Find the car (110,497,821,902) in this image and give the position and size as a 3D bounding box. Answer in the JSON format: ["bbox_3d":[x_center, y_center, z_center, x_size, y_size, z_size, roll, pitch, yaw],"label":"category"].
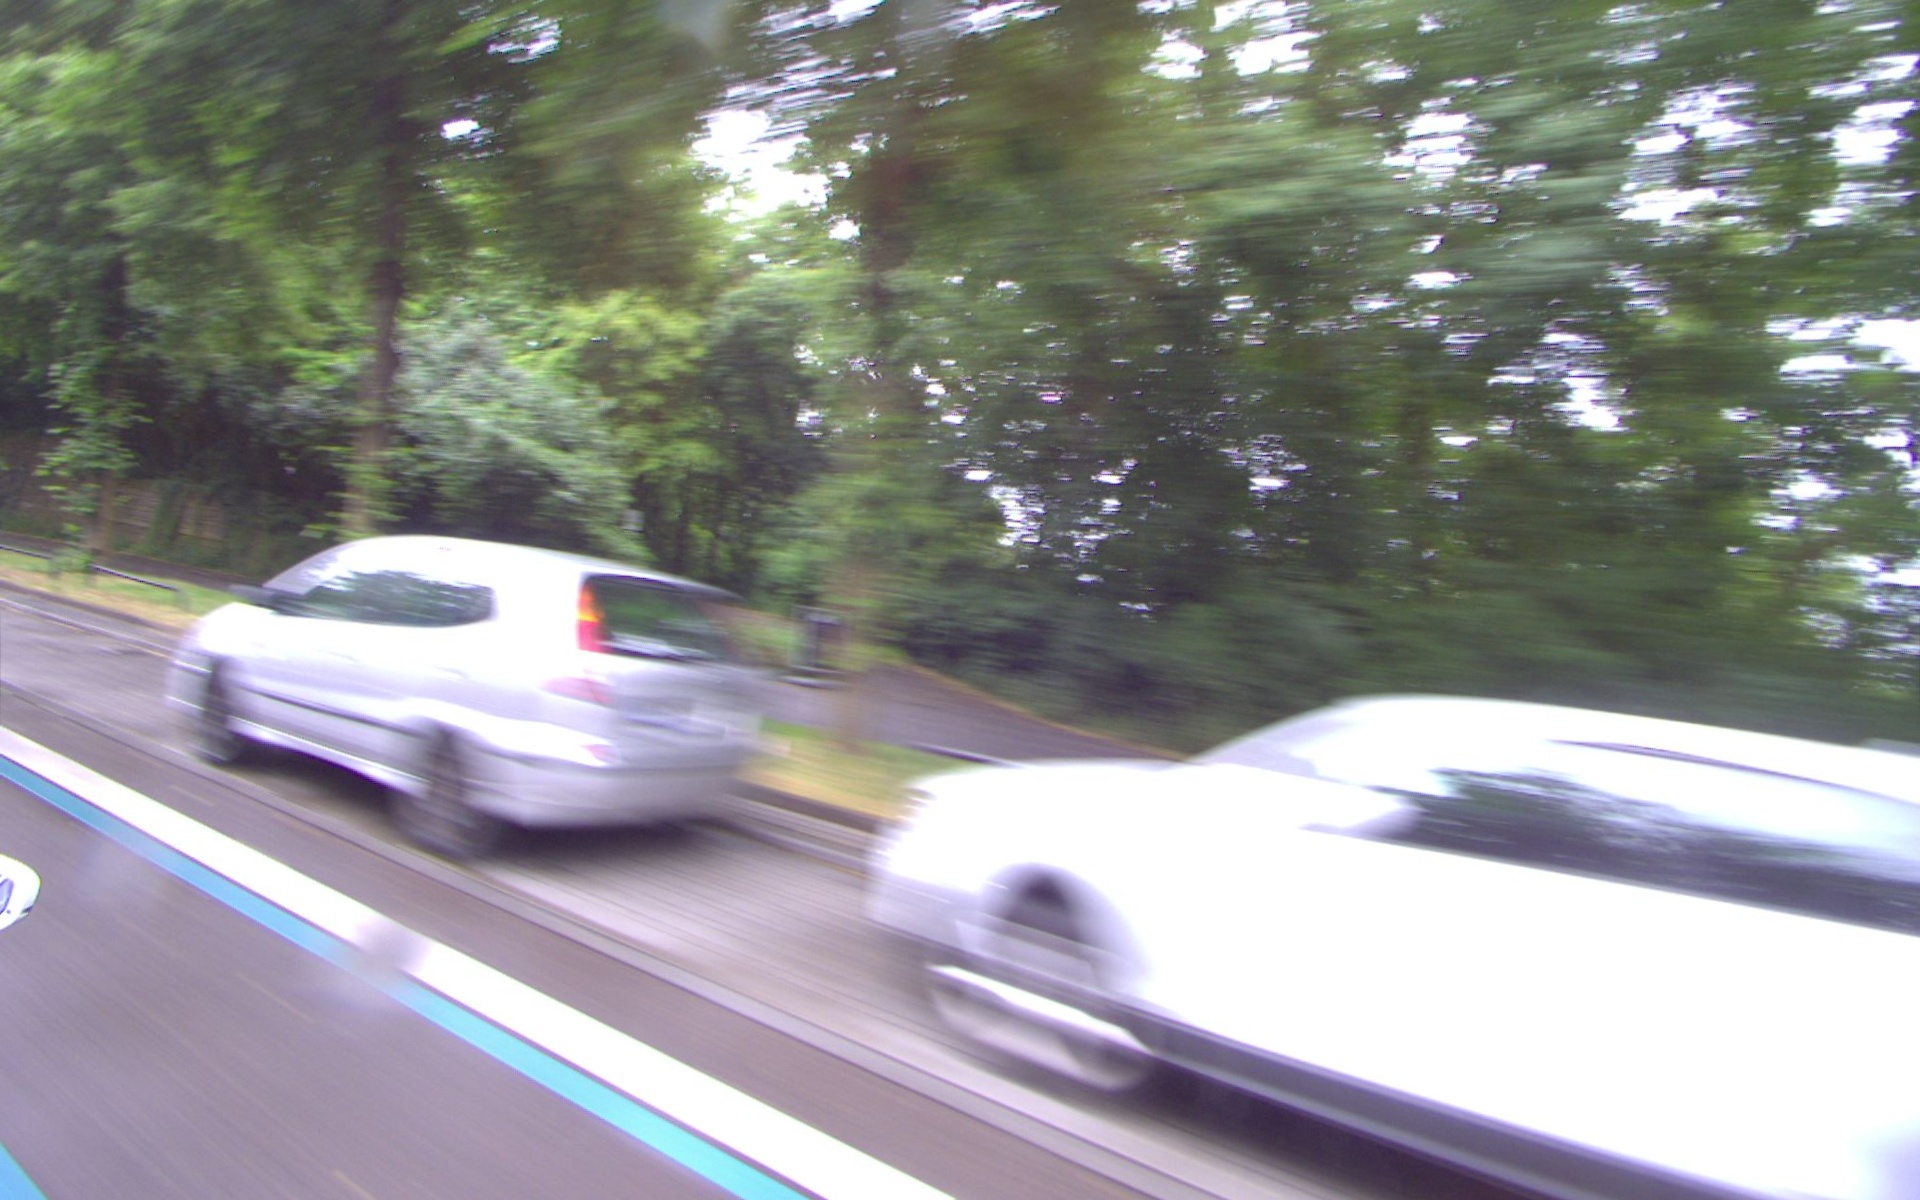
[{"bbox_3d":[-3.351,0.409,6.491,4.661,1.615,1.757,7,-1,31],"label":"car"}]

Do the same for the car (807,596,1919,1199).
[{"bbox_3d":[1.805,1.049,3.336,4.396,1.531,1.701,7,-2,32],"label":"car"}]
